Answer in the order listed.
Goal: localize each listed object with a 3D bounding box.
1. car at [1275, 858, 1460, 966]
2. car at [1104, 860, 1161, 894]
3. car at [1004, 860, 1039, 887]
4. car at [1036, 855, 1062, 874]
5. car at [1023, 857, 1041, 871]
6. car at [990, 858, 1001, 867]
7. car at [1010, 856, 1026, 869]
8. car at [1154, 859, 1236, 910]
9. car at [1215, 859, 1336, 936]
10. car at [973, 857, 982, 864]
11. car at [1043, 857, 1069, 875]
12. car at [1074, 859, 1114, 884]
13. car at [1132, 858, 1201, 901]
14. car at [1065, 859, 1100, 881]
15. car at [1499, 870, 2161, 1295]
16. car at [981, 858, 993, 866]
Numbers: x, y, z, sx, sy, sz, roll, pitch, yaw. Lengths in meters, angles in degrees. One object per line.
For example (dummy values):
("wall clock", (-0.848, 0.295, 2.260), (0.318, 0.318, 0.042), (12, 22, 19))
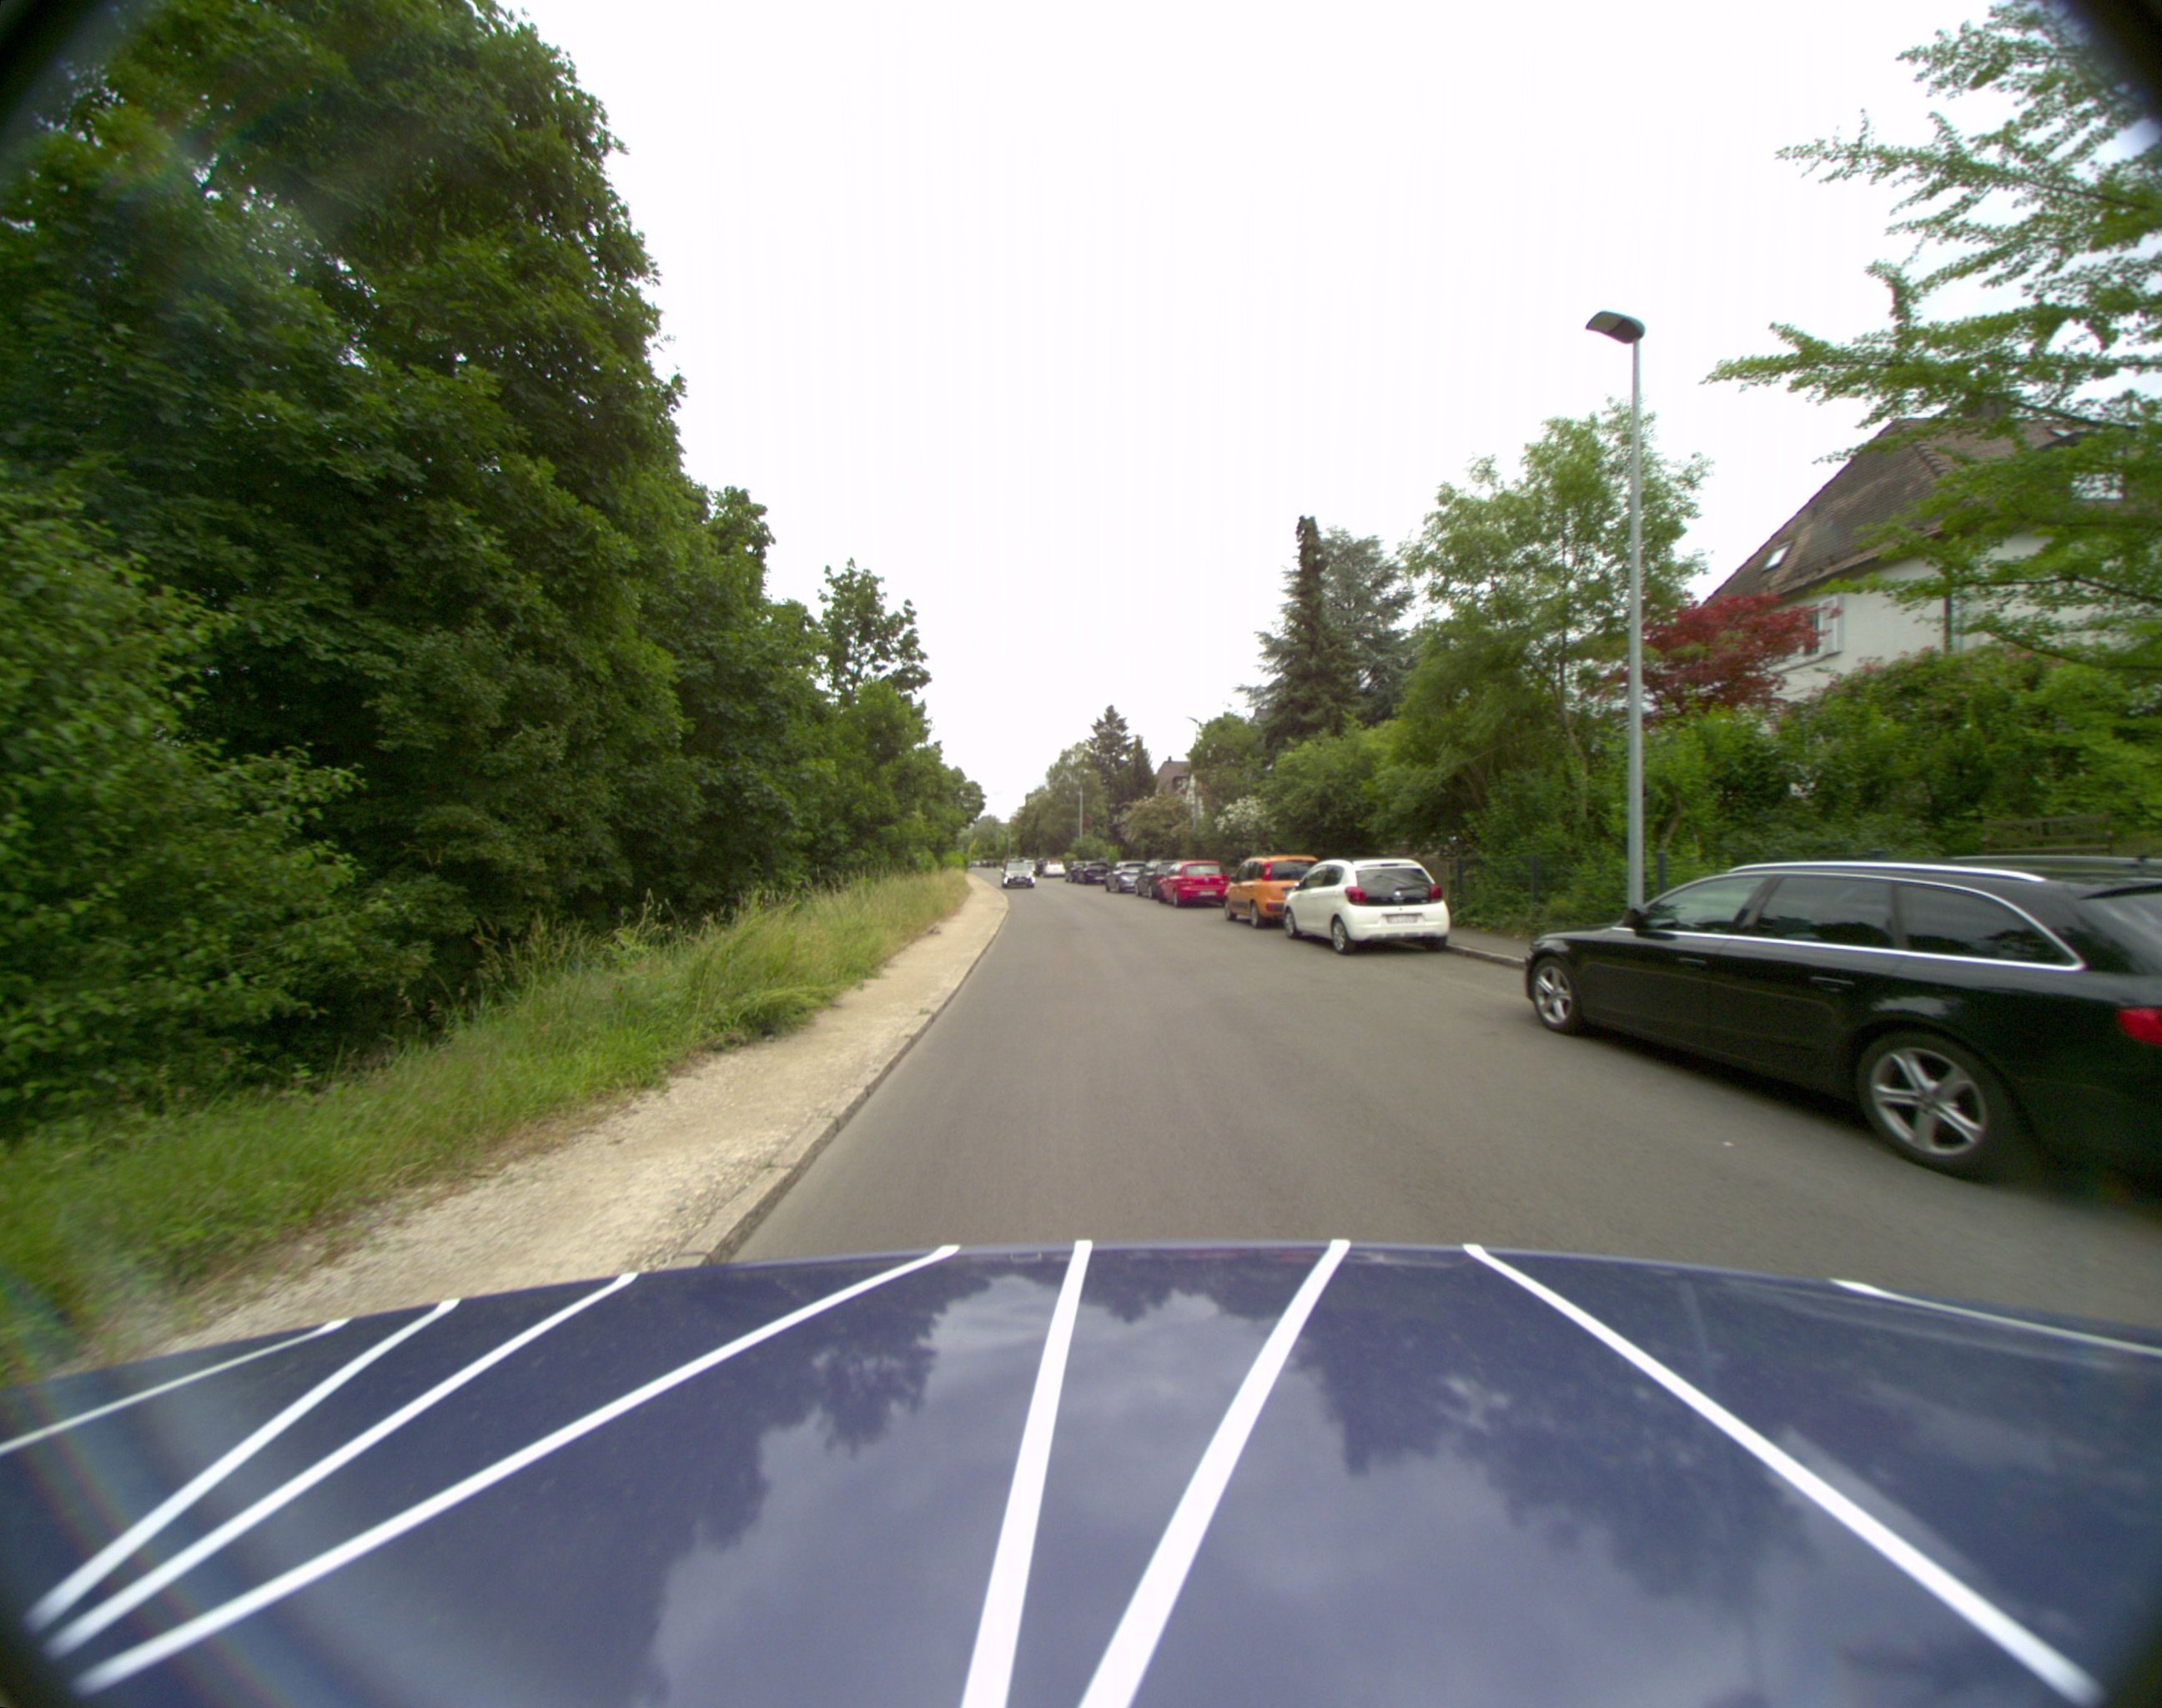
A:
("car", (4.589, 0.845, 12.733), (1.592, 1.505, 3.589), (-1, 0, -2))
("car", (2.298, 1.016, 35.034), (1.712, 1.402, 4.157), (-1, 0, -9))
("car", (-3.483, 1.085, 43.867), (1.712, 1.466, 4.192), (-1, 0, -8))
("car", (-3.008, 0.964, 70.747), (1.798, 1.654, 4.388), (-1, 0, -9))
("car", (-5.585, 1.122, 86.135), (1.712, 1.502, 4.551), (-1, 0, -7))
("car", (-17.493, 1.692, 155.285), (1.924, 1.670, 4.192), (-1, 0, -8))
("car", (-8.792, 1.157, 105.091), (1.802, 1.598, 4.726), (-1, 0, -9))
("car", (3.671, 0.933, 25.171), (1.712, 1.505, 4.361), (-1, 0, -4))
("car", (4.248, 0.876, 17.132), (1.548, 1.505, 3.642), (-1, 0, -4))
("car", (-26.382, 1.564, 193.904), (1.924, 1.670, 4.191), (-1, 0, -11))
("car", (-2.191, 1.039, 66.307), (1.712, 1.502, 3.943), (-1, 0, -9))
("car", (0.744, 1.060, 46.744), (1.712, 1.408, 4.129), (-1, 0, -9))
("car", (3.290, 0.938, 30.000), (1.712, 1.505, 4.493), (-1, 0, -6))
("car", (0.060, 1.060, 51.706), (1.712, 1.408, 4.146), (-1, 0, -9))
("car", (4.663, 0.845, 4.604), (1.722, 1.376, 4.663), (-1, 0, 1))
("car", (-20.492, 1.705, 165.611), (1.924, 1.670, 4.190), (-1, 0, -13))
